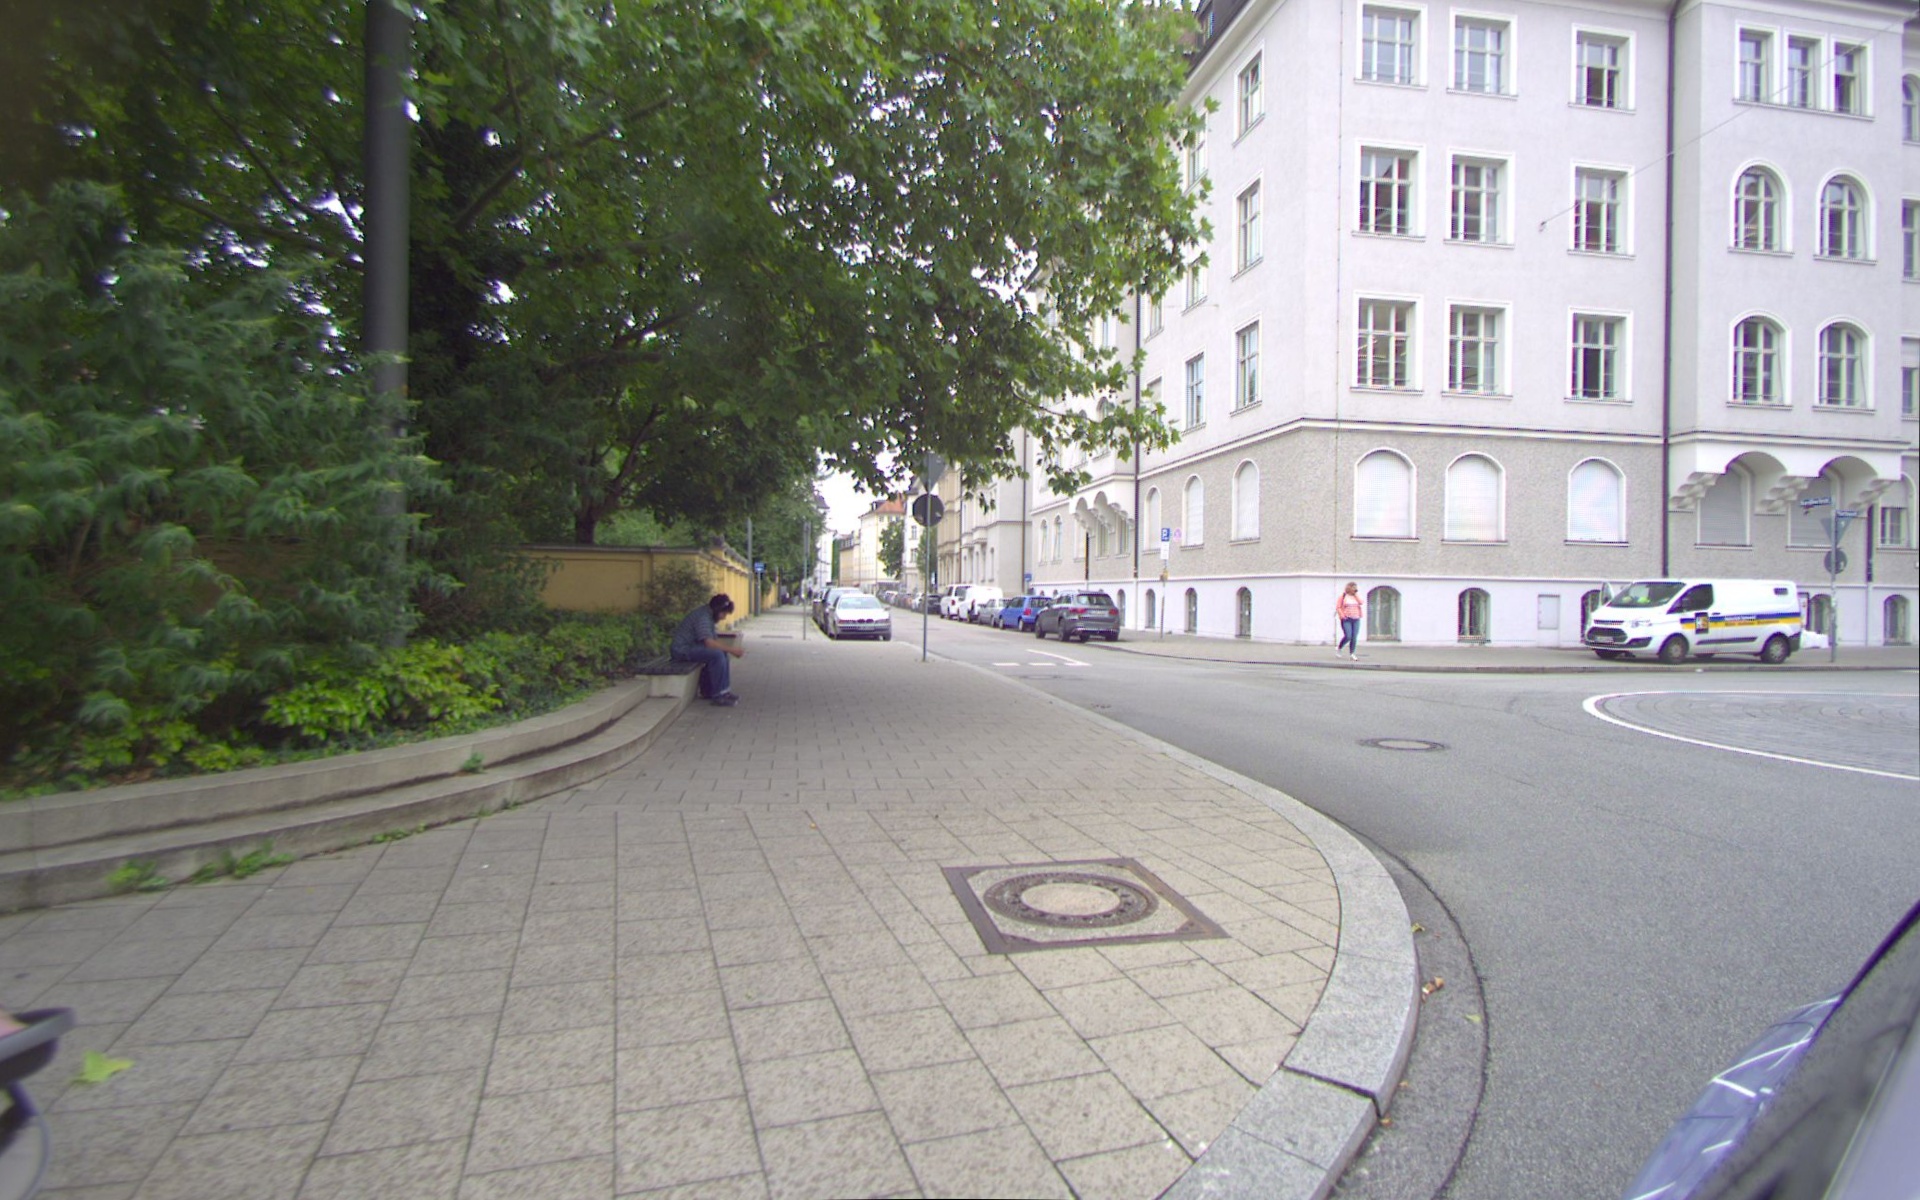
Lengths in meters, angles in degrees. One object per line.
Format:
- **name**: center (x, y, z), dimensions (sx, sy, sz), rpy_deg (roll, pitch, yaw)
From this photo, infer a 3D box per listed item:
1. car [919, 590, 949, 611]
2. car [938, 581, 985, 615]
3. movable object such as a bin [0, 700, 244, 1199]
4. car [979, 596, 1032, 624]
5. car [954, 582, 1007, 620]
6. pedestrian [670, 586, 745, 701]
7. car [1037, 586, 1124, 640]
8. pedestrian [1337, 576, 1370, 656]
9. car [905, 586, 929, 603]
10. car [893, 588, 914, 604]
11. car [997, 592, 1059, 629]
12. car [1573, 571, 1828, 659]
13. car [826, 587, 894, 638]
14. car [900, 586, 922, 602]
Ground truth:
- **car**: center (-1.837, 0.037, 70.159), dimensions (1.752, 1.371, 4.005), rpy_deg (-1, 1, -6)
- **car**: center (0.043, -0.151, 56.485), dimensions (1.870, 1.780, 4.060), rpy_deg (-1, 1, -11)
- **movable object such as a bin**: center (-1.912, 0.775, 1.689), dimensions (0.885, 1.097, 0.776), rpy_deg (2, 3, 9)
- **car**: center (1.988, 0.428, 45.225), dimensions (1.666, 1.102, 3.223), rpy_deg (-1, 1, -11)
- **car**: center (0.978, -0.004, 50.405), dimensions (1.786, 1.780, 4.117), rpy_deg (-1, 1, -11)
- **pedestrian**: center (-2.699, 0.456, 10.872), dimensions (0.730, 1.192, 0.579), rpy_deg (1, 0, -9)
- **car**: center (3.845, 0.367, 32.969), dimensions (1.702, 1.602, 4.007), rpy_deg (-1, 1, -10)
- **pedestrian**: center (8.822, 0.349, 22.697), dimensions (0.559, 1.790, 0.405), rpy_deg (0, 0, -2)
- **car**: center (-3.695, -0.501, 86.031), dimensions (1.752, 1.371, 4.005), rpy_deg (-1, 1, -6)
- **car**: center (-5.396, -0.401, 96.084), dimensions (1.752, 1.371, 4.005), rpy_deg (-1, 1, -6)
- **car**: center (2.678, 0.381, 40.411), dimensions (1.666, 1.349, 3.304), rpy_deg (-1, 1, -11)
- **car**: center (17.363, 0.326, 23.820), dimensions (4.871, 1.959, 1.955), rpy_deg (0, 1, -10)
- **car**: center (-3.216, 0.359, 31.934), dimensions (1.702, 1.487, 4.008), rpy_deg (0, 1, -12)
- **car**: center (-4.389, -0.572, 90.335), dimensions (1.752, 1.371, 4.005), rpy_deg (-1, 1, -6)
